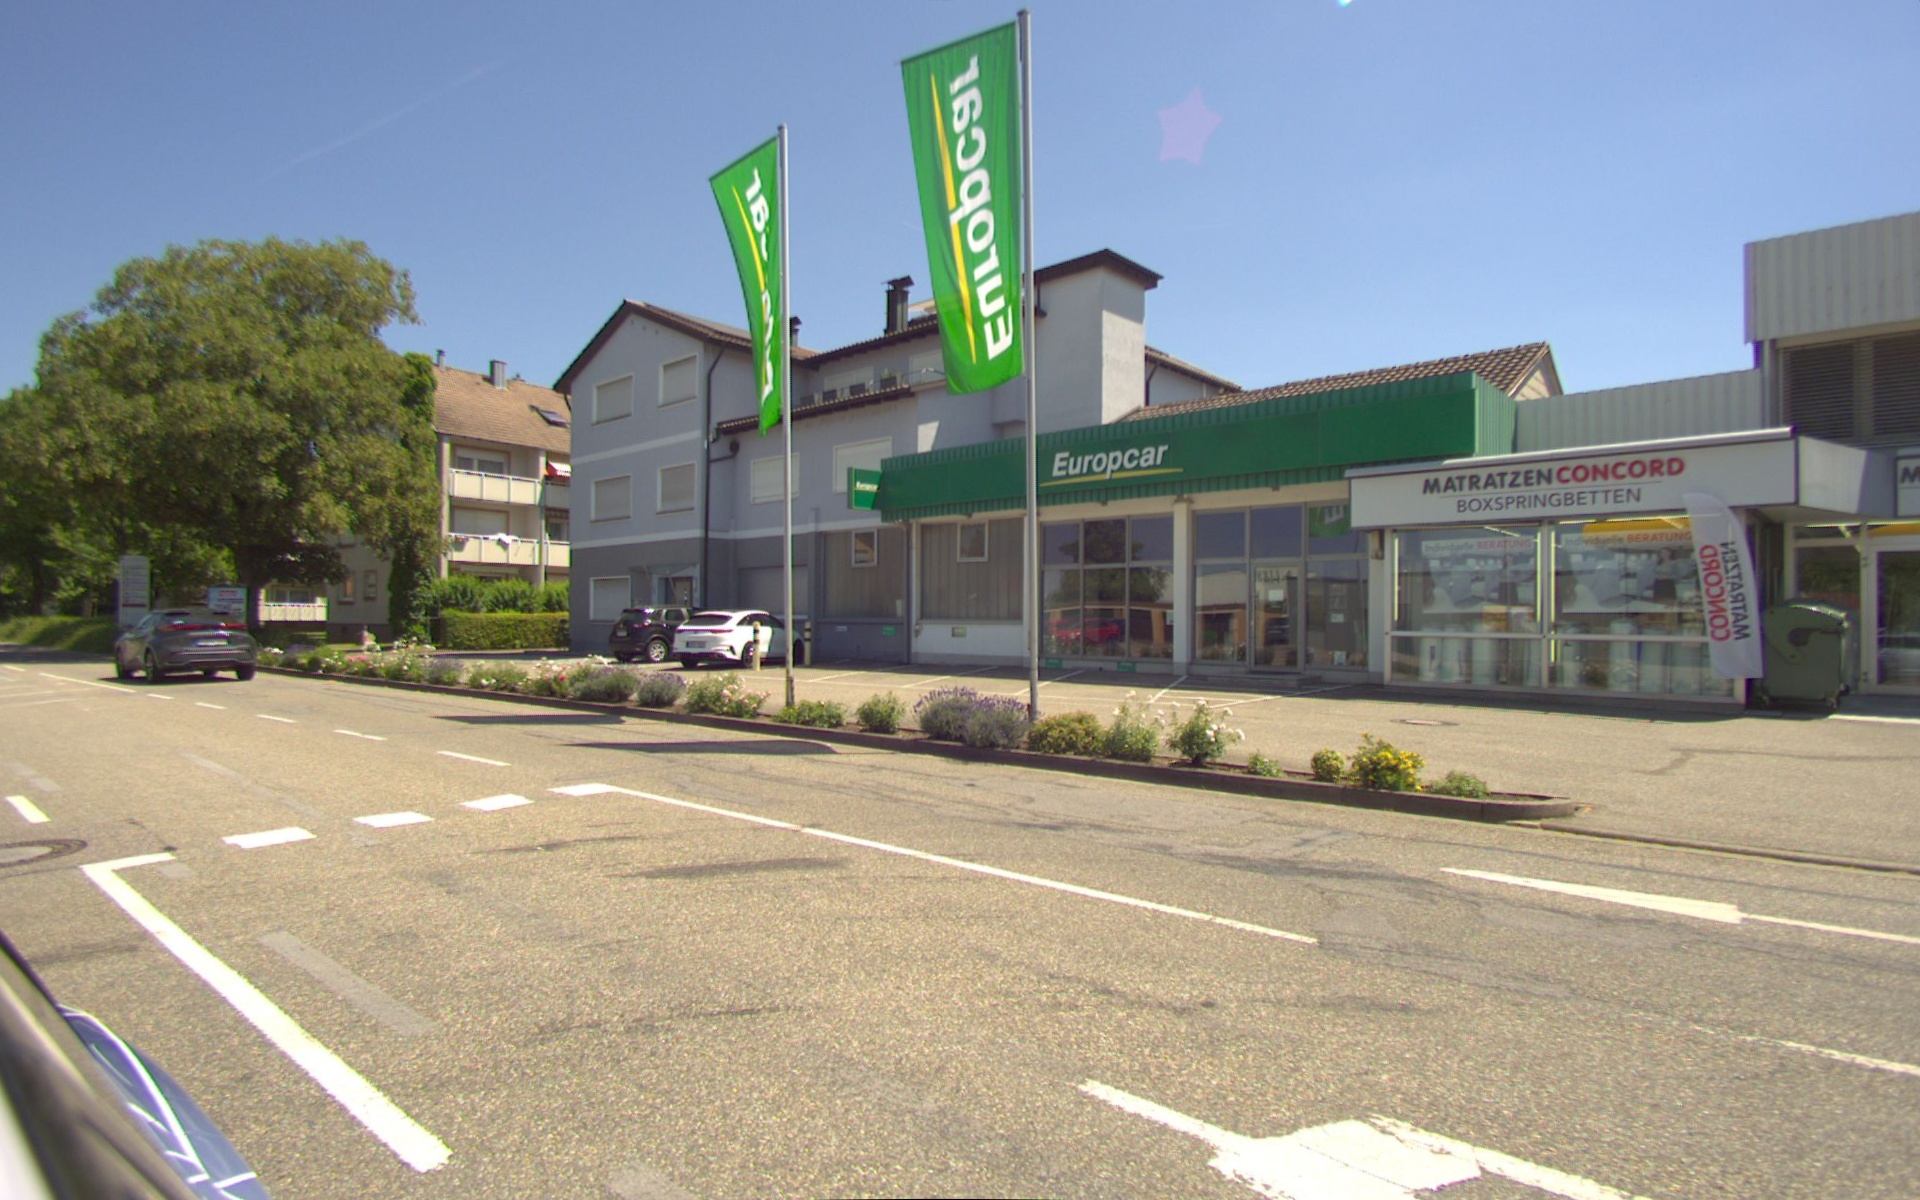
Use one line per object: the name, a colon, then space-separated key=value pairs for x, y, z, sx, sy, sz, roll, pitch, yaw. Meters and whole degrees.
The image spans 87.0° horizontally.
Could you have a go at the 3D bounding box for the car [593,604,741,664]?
car: x=-8.213 y=0.906 z=28.562 sx=1.968 sy=1.577 sz=3.524 roll=-1 pitch=-1 yaw=40

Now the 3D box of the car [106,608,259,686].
car: x=-16.874 y=0.975 z=21.906 sx=4.134 sy=1.538 sz=1.744 roll=-1 pitch=-2 yaw=40

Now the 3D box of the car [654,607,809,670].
car: x=-5.645 y=0.904 z=25.599 sx=1.924 sy=1.450 sz=4.329 roll=0 pitch=-1 yaw=18
